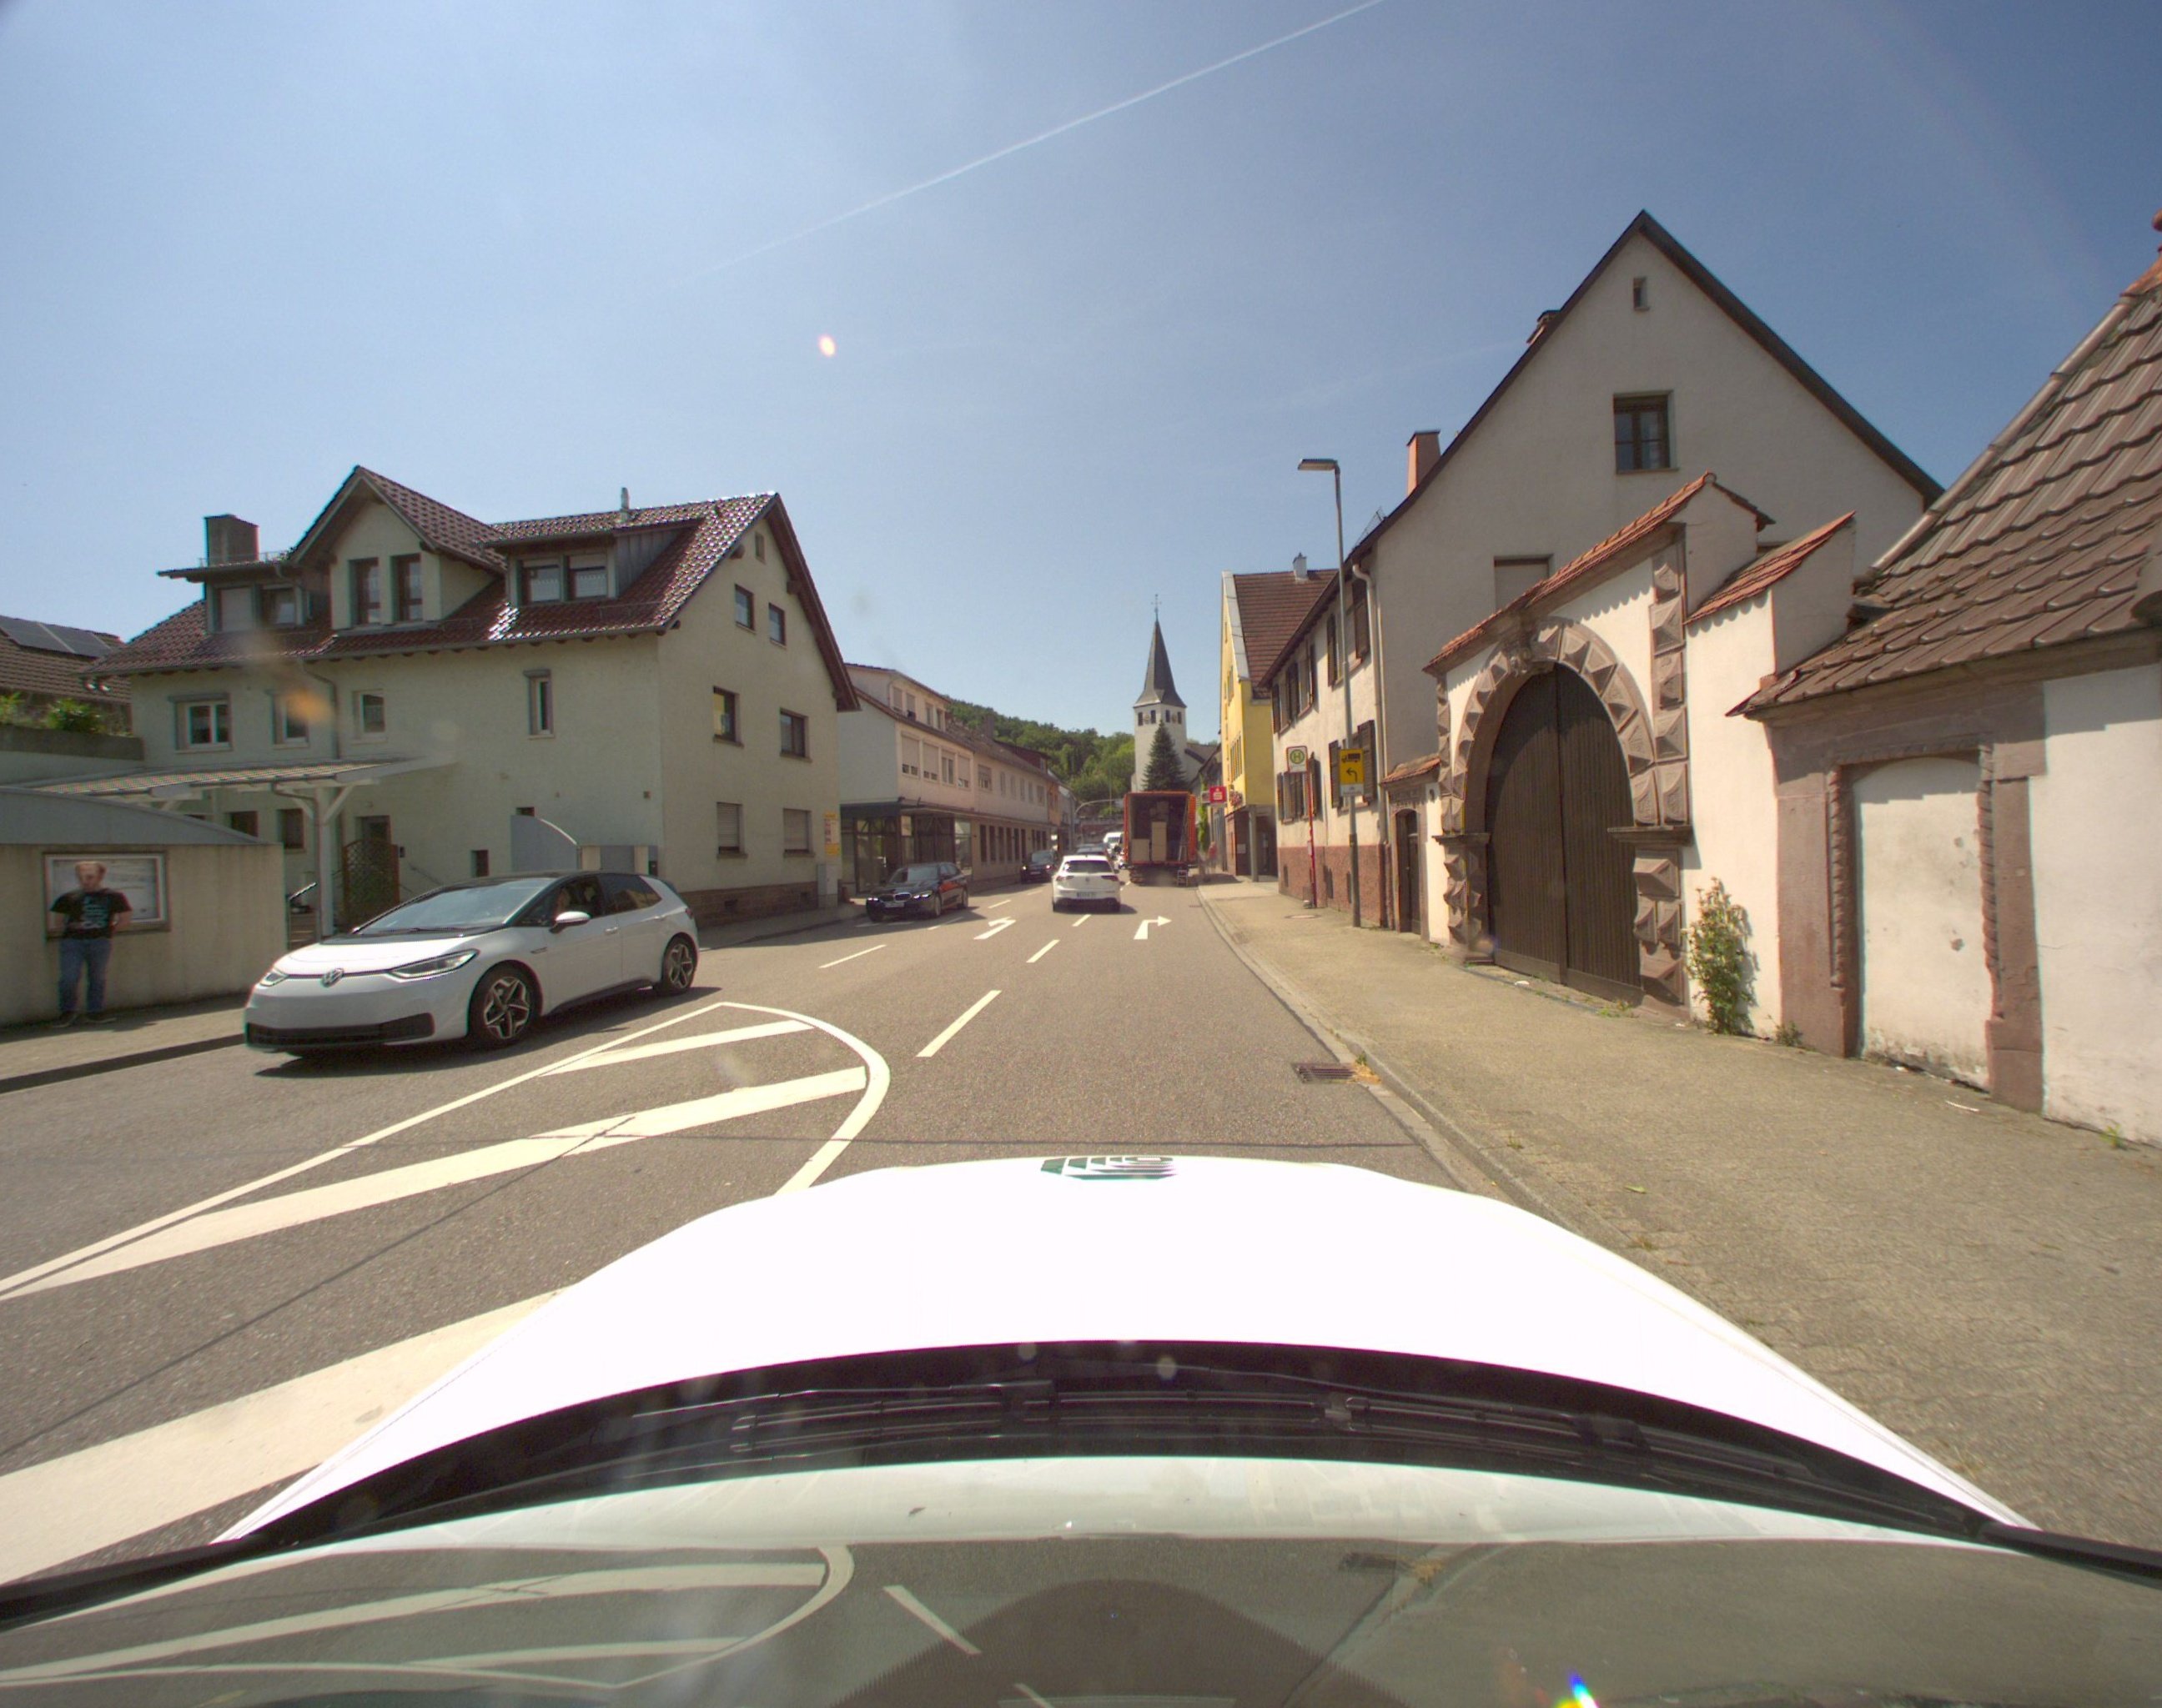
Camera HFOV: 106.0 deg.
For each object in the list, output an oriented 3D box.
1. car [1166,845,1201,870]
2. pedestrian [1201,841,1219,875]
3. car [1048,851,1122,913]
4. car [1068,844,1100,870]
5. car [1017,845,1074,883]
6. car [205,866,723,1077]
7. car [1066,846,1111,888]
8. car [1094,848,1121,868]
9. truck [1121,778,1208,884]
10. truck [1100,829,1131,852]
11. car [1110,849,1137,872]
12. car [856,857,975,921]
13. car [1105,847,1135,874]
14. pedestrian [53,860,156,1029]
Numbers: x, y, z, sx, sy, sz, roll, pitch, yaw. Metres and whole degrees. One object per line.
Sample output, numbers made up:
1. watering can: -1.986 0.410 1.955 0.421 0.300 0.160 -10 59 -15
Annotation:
1. car: 6.711 0.231 53.631 1.808 1.519 4.001 -3 -1 2
2. pedestrian: 6.881 0.235 43.500 0.766 1.742 0.871 -3 -1 0
3. car: 0.173 0.713 22.170 1.808 1.519 4.001 -1 -1 2
4. car: 0.265 0.167 61.946 1.792 1.779 4.715 -3 0 7
5. car: -1.784 0.492 42.411 1.679 1.698 4.129 -3 1 15
6. car: -5.670 0.939 8.308 1.786 1.508 4.140 -3 -1 6
7. car: 0.372 0.563 36.108 1.808 1.628 4.001 -3 -1 2
8. car: 2.511 0.346 75.304 1.982 1.651 4.009 -3 -1 8
9. truck: 3.779 -0.916 38.413 3.352 4.170 9.529 -3 -1 4
10. truck: 4.004 -1.533 94.435 2.102 2.474 5.761 -3 -1 16
11. car: 3.066 0.470 59.663 1.808 1.519 4.001 -3 -1 2
12. car: -4.421 0.892 22.542 1.784 1.493 4.431 -3 -1 8
13. car: 2.524 0.420 53.784 1.808 1.628 4.001 -3 -1 2
14. pedestrian: -10.648 0.960 8.892 0.430 1.764 0.560 -3 0 20
